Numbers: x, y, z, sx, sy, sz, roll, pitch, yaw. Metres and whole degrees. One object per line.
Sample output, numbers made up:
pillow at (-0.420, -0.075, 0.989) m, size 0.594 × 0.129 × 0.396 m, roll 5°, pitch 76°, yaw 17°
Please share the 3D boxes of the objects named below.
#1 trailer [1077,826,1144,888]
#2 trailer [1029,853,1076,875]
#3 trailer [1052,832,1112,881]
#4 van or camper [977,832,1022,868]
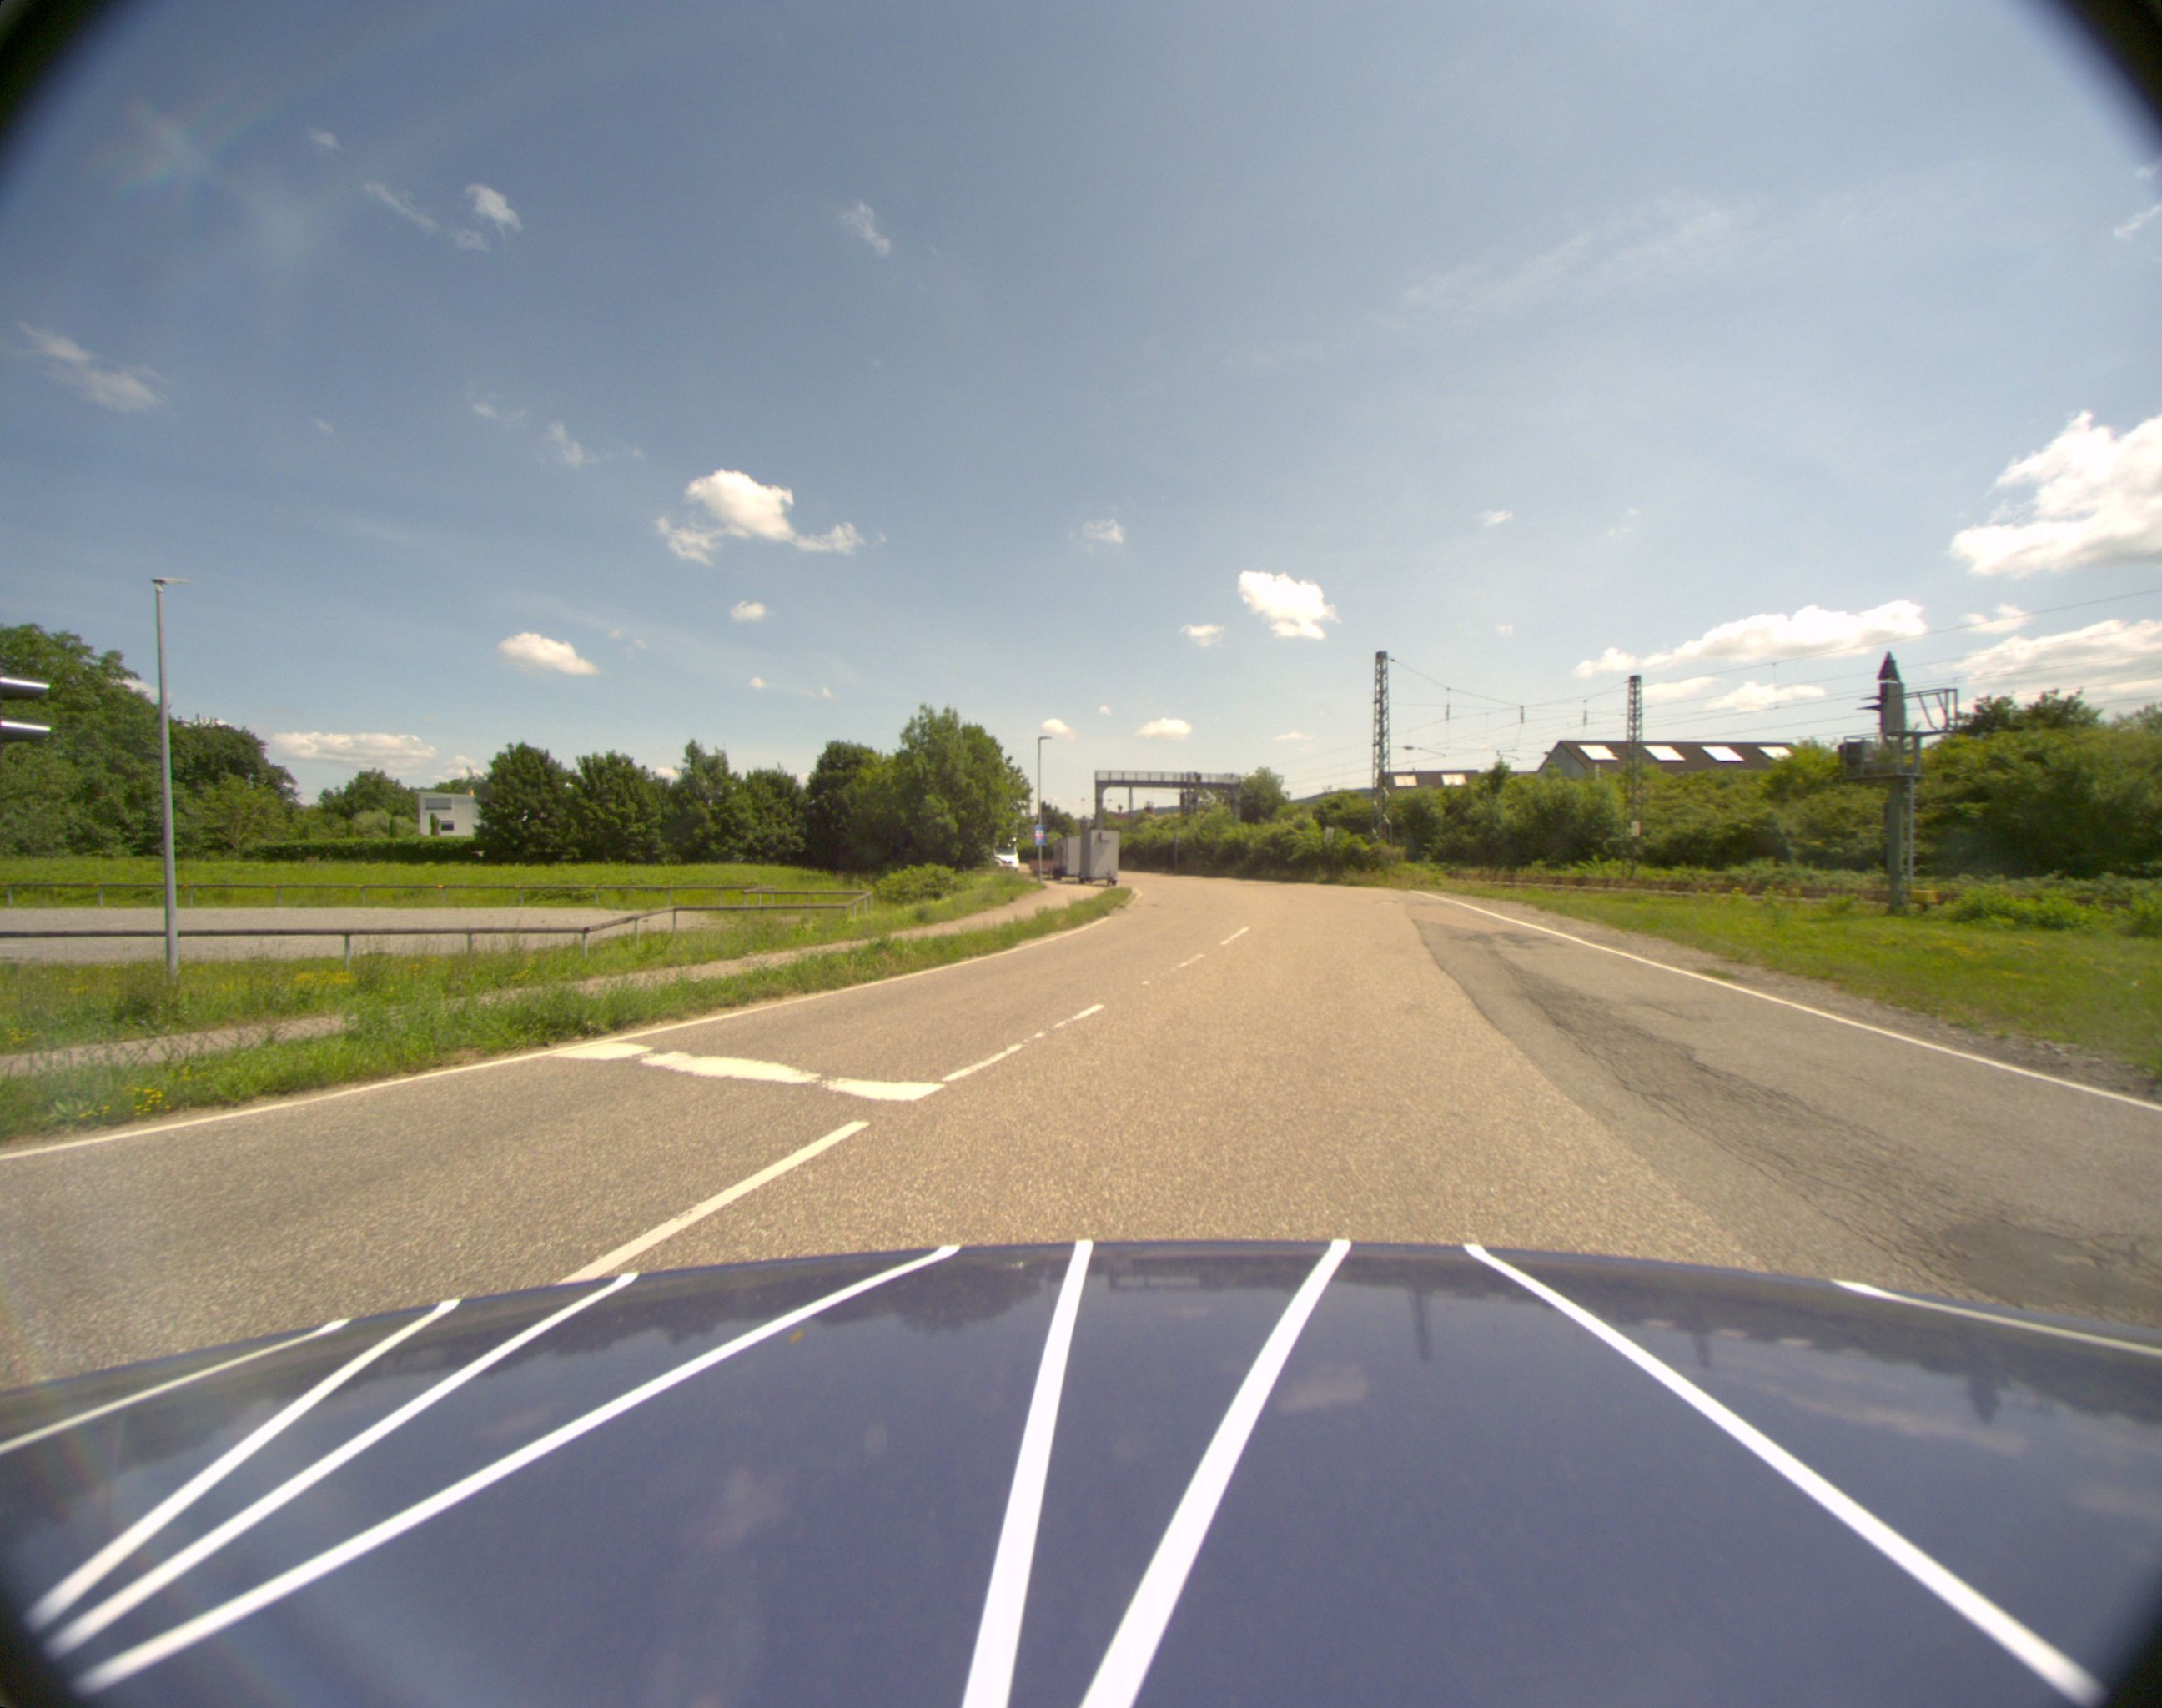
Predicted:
trailer at (1.292, 0.118, 35.991) m, size 1.940 × 2.628 × 5.178 m, roll 2°, pitch 0°, yaw -11°
trailer at (-1.794, 0.589, 46.703) m, size 2.012 × 1.116 × 4.482 m, roll 2°, pitch 1°, yaw -14°
trailer at (-0.038, 0.112, 41.280) m, size 1.926 × 2.493 × 4.733 m, roll 2°, pitch 0°, yaw -16°
van or camper at (-6.973, -0.315, 64.007) m, size 2.449 × 2.810 × 7.611 m, roll 1°, pitch 0°, yaw -16°
